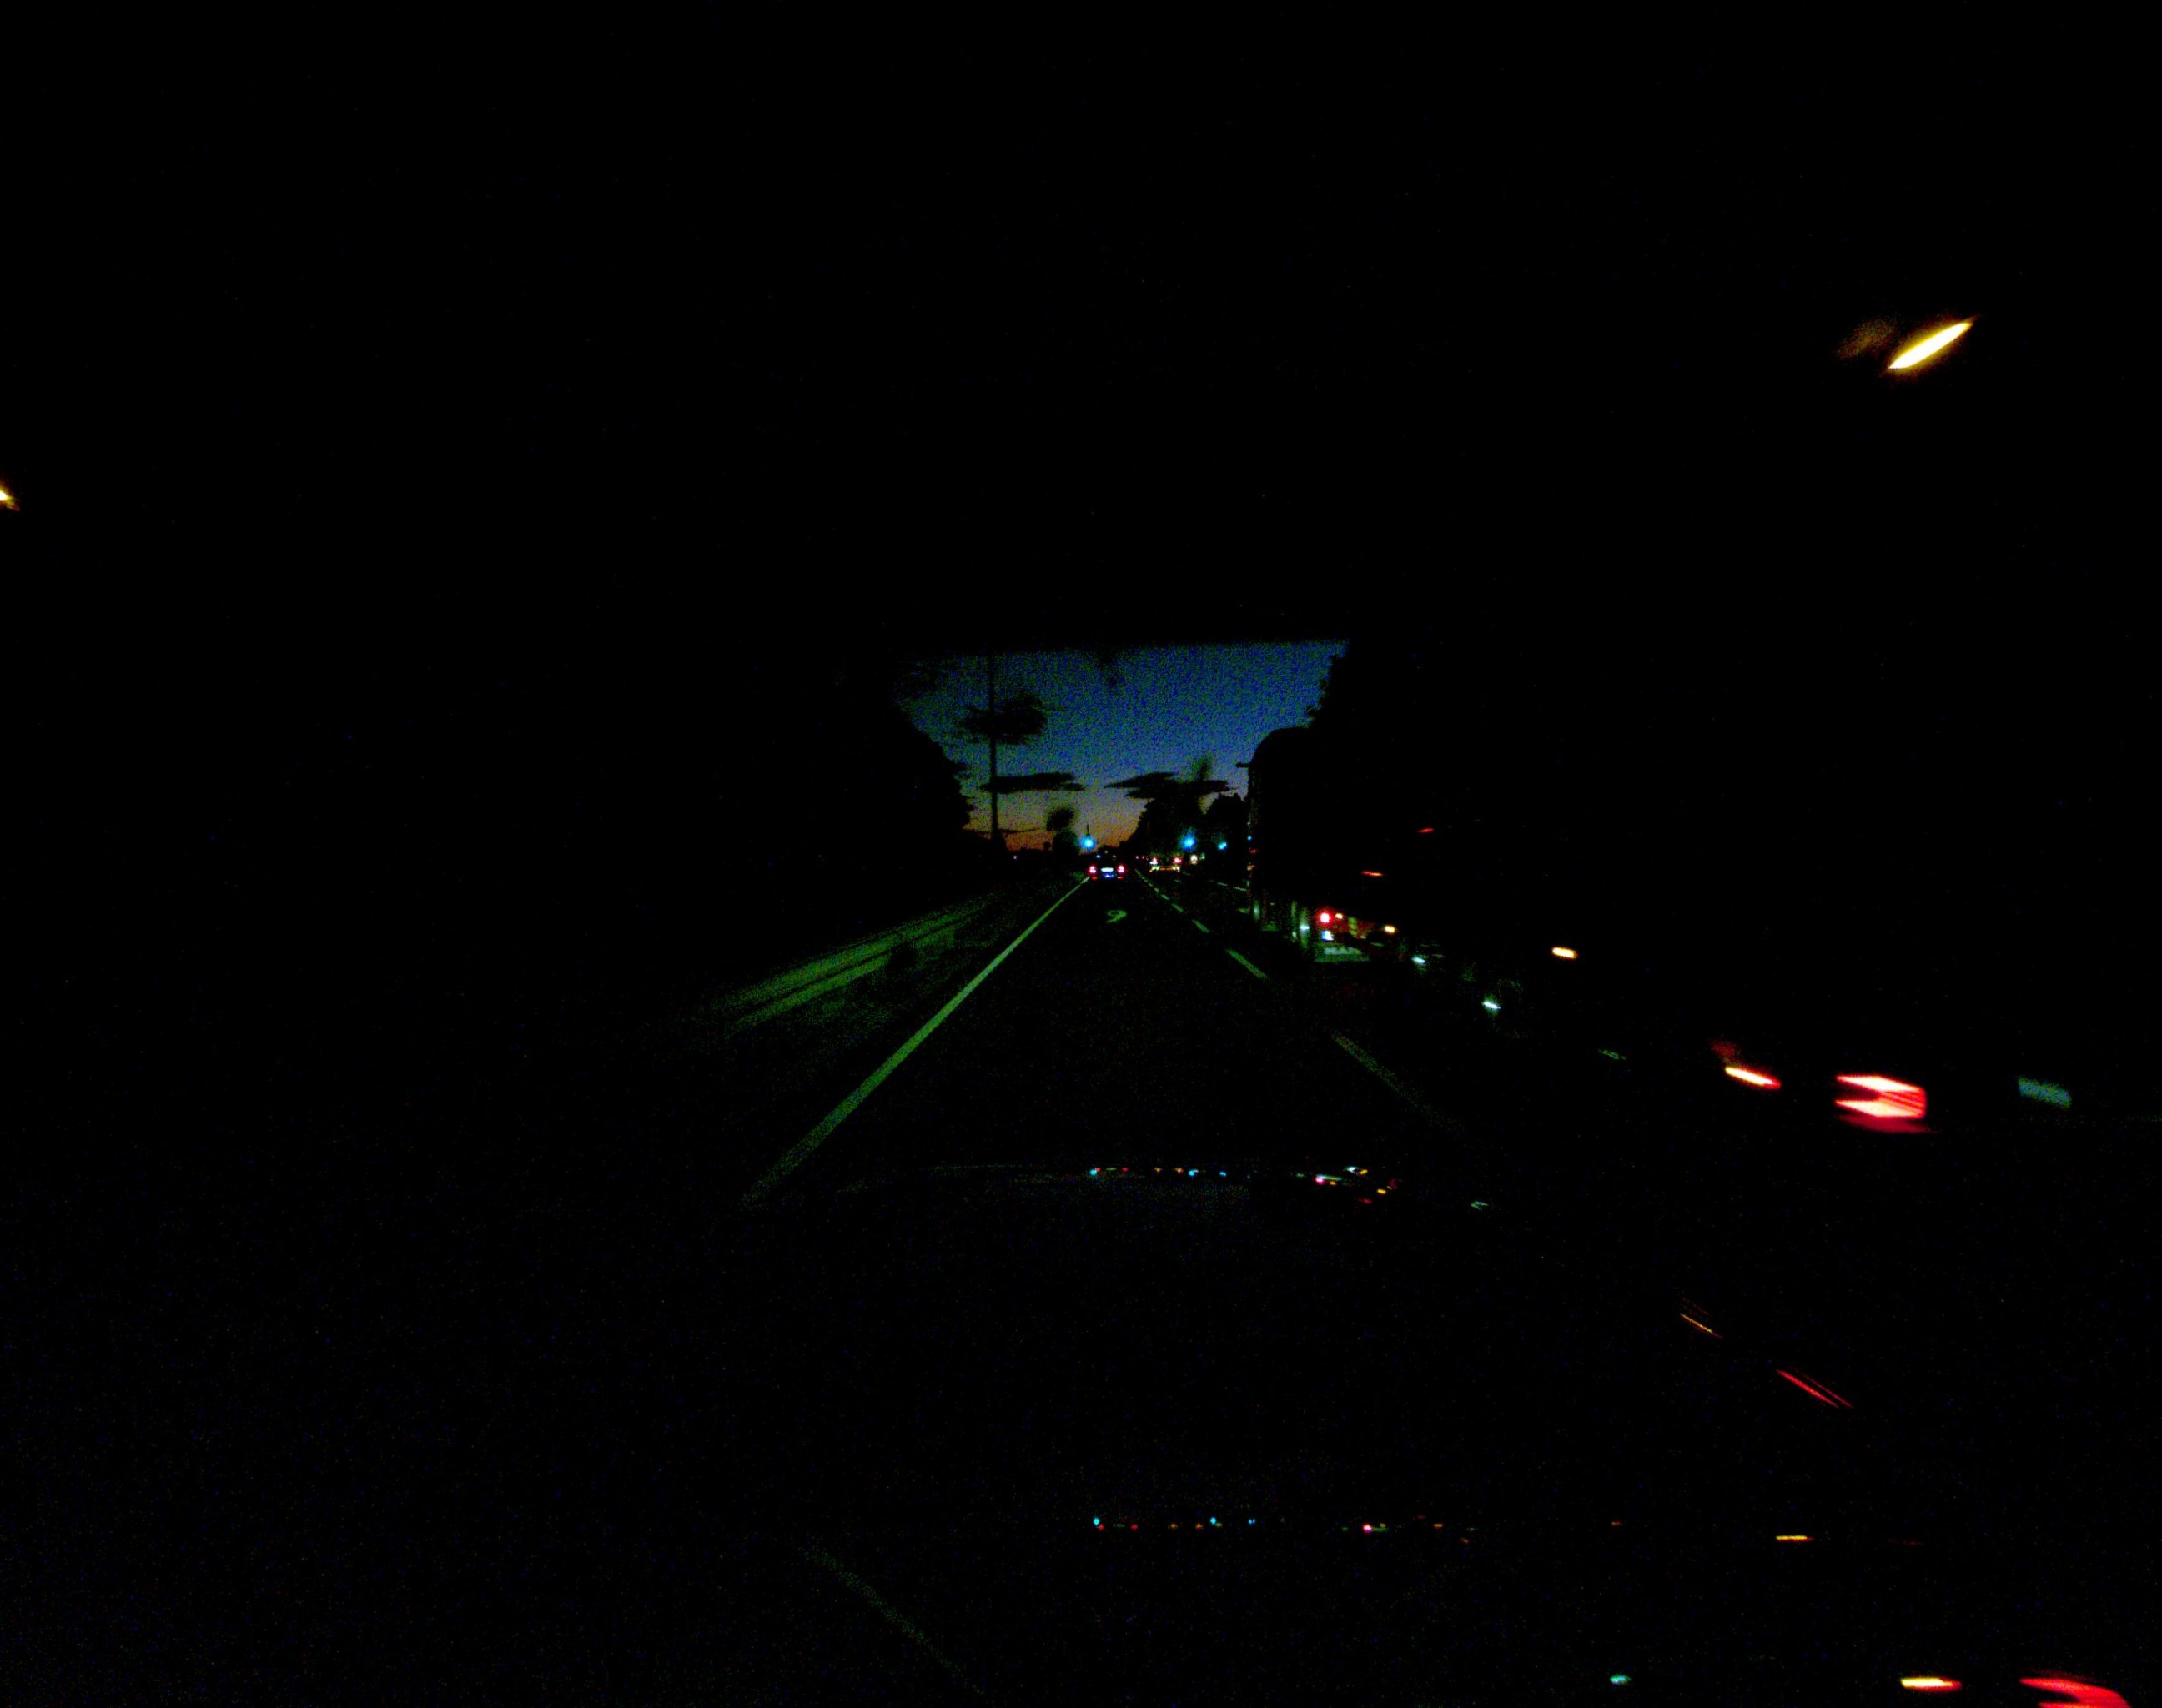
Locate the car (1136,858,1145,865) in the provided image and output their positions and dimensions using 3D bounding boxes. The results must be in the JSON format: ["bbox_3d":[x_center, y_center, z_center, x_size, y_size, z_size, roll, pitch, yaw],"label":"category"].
[{"bbox_3d":[12.031,1.477,165.304,1.689,1.452,3.915,-1,0,1],"label":"car"}]

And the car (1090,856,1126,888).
[{"bbox_3d":[1.312,0.834,39.816,1.689,1.452,3.915,-1,0,1],"label":"car"}]

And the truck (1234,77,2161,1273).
[{"bbox_3d":[4.094,-0.605,9.355,2.677,4.106,13.148,-1,0,2],"label":"truck"}]

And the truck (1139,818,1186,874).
[{"bbox_3d":[6.485,-0.556,66.397,2.872,4.106,12.687,-1,0,2],"label":"truck"}]

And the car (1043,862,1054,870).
[{"bbox_3d":[-5.616,2.052,141.432,1.599,1.330,3.941,-3,0,1],"label":"car"}]
